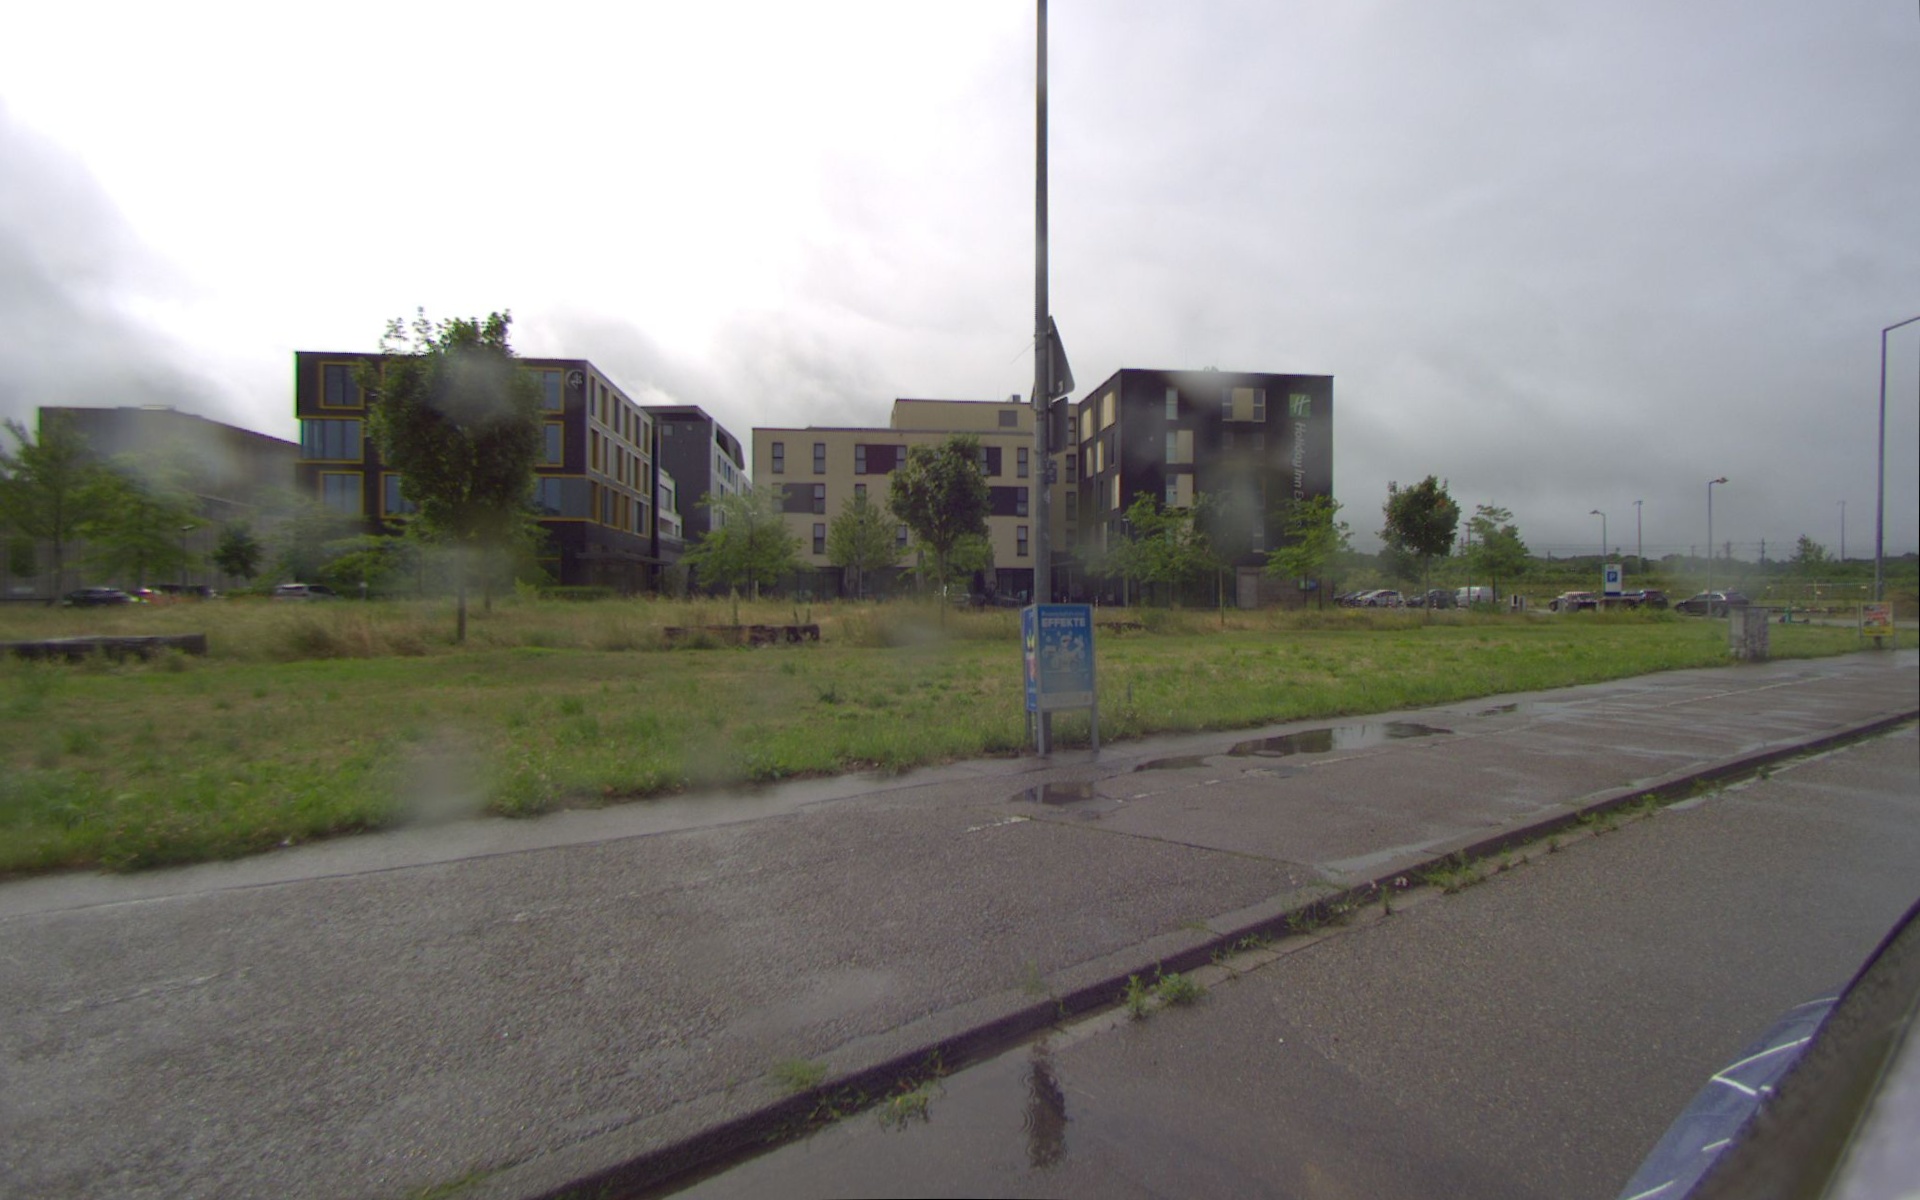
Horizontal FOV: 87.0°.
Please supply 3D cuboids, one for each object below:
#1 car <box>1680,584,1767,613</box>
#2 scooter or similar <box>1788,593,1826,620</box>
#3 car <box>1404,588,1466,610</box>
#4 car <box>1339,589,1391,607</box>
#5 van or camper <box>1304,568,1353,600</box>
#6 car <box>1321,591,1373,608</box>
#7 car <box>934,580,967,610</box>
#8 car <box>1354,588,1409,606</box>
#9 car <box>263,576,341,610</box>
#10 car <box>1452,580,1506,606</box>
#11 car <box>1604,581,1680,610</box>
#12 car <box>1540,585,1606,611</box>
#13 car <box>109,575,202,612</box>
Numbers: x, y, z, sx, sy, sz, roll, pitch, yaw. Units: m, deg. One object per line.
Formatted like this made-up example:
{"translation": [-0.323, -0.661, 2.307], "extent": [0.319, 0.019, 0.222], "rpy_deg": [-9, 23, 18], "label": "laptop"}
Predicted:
{"translation": [47.389, -0.121, 62.934], "extent": [1.959, 1.638, 4.007], "rpy_deg": [-2, 1, -11], "label": "car"}
{"translation": [40.056, 0.309, 47.860], "extent": [0.493, 1.202, 1.284], "rpy_deg": [2, 1, -36], "label": "scooter or similar"}
{"translation": [35.262, -0.087, 75.197], "extent": [3.764, 1.548, 1.787], "rpy_deg": [0, -3, -8], "label": "car"}
{"translation": [33.997, -0.135, 84.951], "extent": [3.705, 1.414, 1.645], "rpy_deg": [-1, -2, -7], "label": "car"}
{"translation": [42.582, -1.776, 117.041], "extent": [2.478, 3.243, 6.805], "rpy_deg": [0, -3, -7], "label": "van or camper"}
{"translation": [33.393, -0.036, 87.355], "extent": [3.764, 1.414, 1.787], "rpy_deg": [0, -3, -8], "label": "car"}
{"translation": [-0.559, -0.309, 57.581], "extent": [1.634, 1.577, 4.223], "rpy_deg": [0, 2, -4], "label": "car"}
{"translation": [34.351, -0.242, 82.552], "extent": [3.730, 1.414, 1.770], "rpy_deg": [0, -3, -8], "label": "car"}
{"translation": [-34.827, -0.369, 53.682], "extent": [1.734, 1.742, 4.003], "rpy_deg": [0, 0, -3], "label": "car"}
{"translation": [44.279, -0.575, 86.427], "extent": [1.960, 1.796, 4.339], "rpy_deg": [0, -5, -6], "label": "car"}
{"translation": [46.424, -0.288, 68.982], "extent": [1.958, 1.750, 4.005], "rpy_deg": [0, -3, -11], "label": "car"}
{"translation": [45.206, -0.126, 74.731], "extent": [1.958, 1.663, 4.005], "rpy_deg": [0, -3, -11], "label": "car"}
{"translation": [-40.895, -0.355, 51.561], "extent": [1.771, 1.794, 4.004], "rpy_deg": [0, 1, -5], "label": "car"}
